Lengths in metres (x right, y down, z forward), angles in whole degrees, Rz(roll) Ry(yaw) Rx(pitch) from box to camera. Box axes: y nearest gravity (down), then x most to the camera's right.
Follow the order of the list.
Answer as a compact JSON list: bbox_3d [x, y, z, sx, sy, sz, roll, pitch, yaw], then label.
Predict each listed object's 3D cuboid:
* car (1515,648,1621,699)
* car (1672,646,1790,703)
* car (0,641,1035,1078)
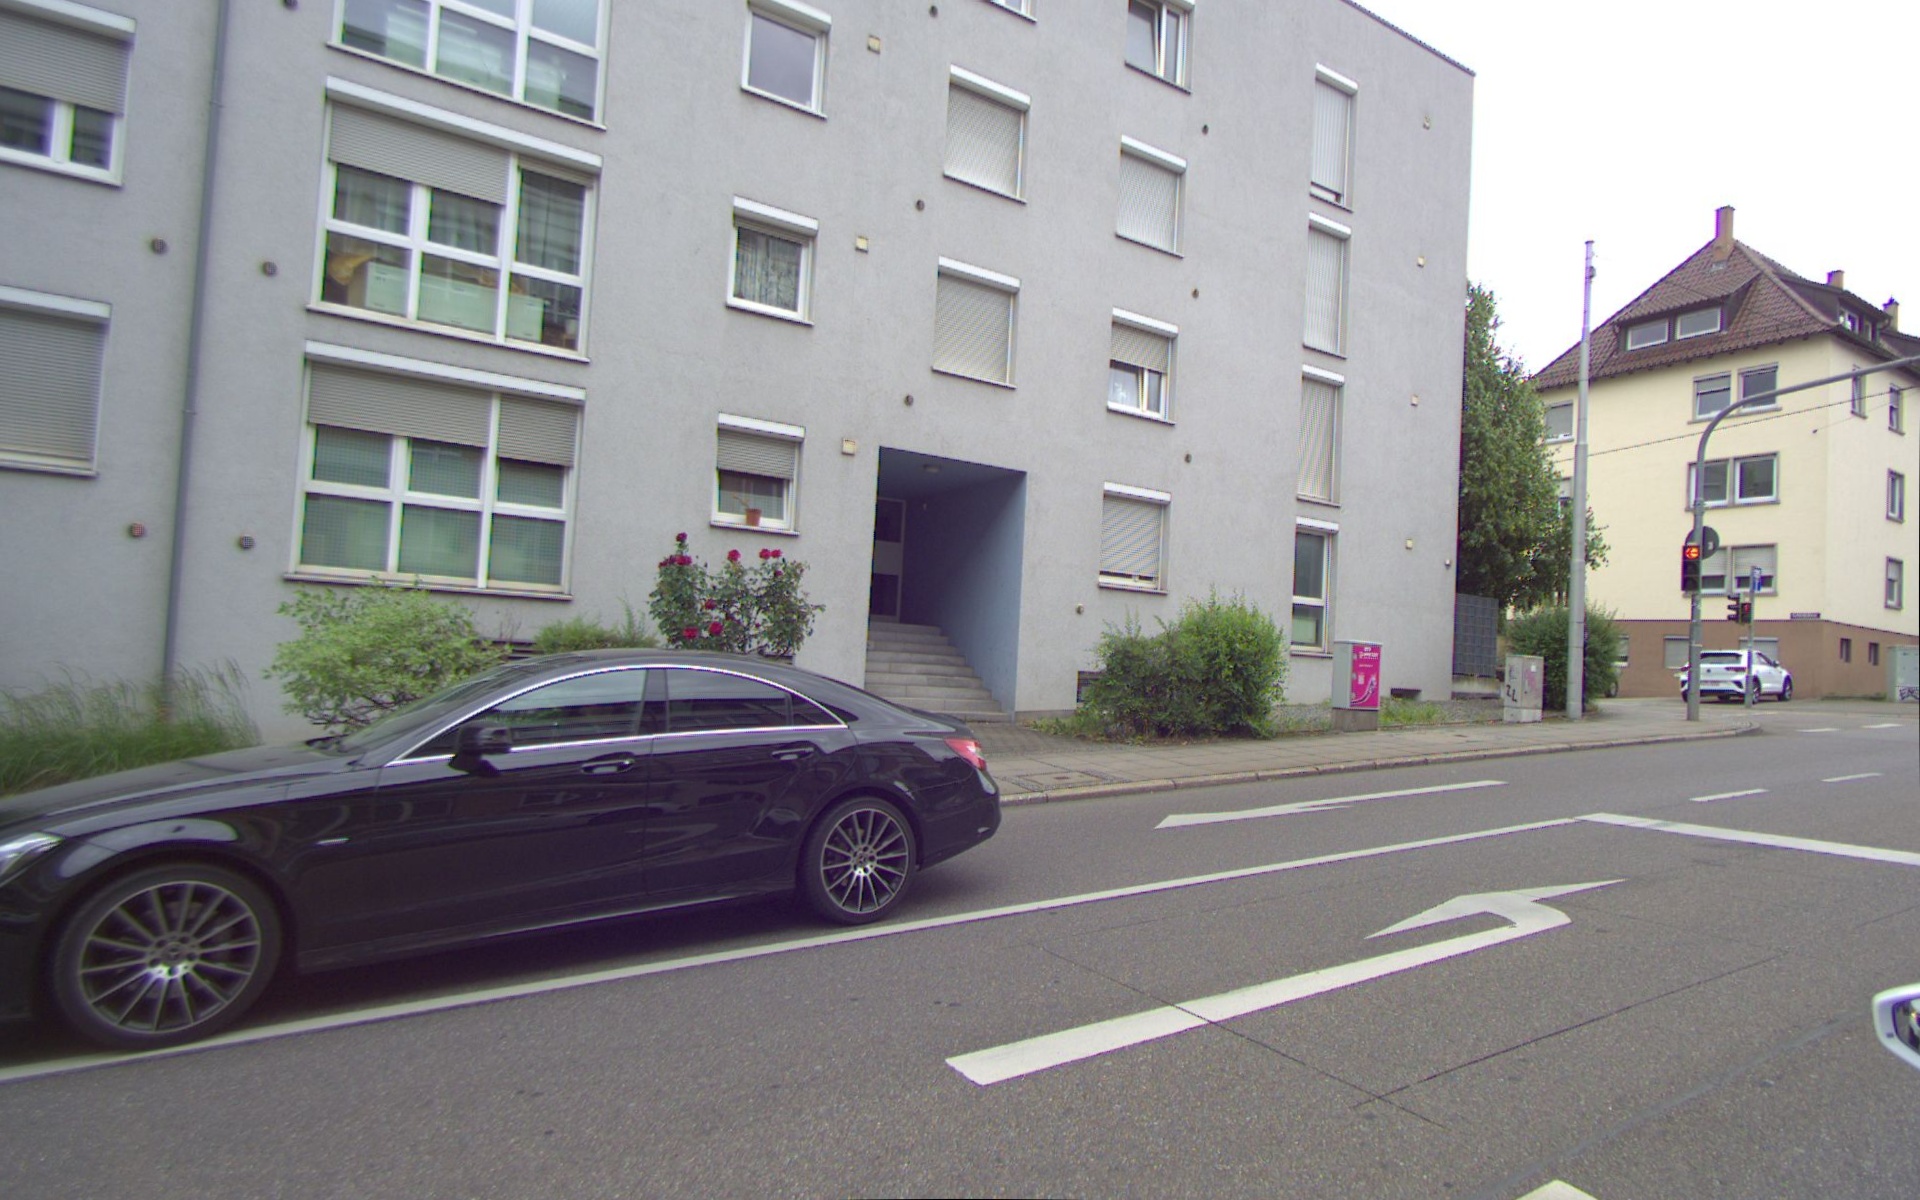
[{"bbox_3d":[20.929,2.482,34.535,3.727,1.629,1.681,1,-4,-34],"label":"car"},{"bbox_3d":[23.033,2.196,29.994,3.727,1.575,1.681,1,-4,-34],"label":"car"},{"bbox_3d":[-1.977,0.951,5.215,4.622,1.437,1.775,2,-4,-34],"label":"car"}]
